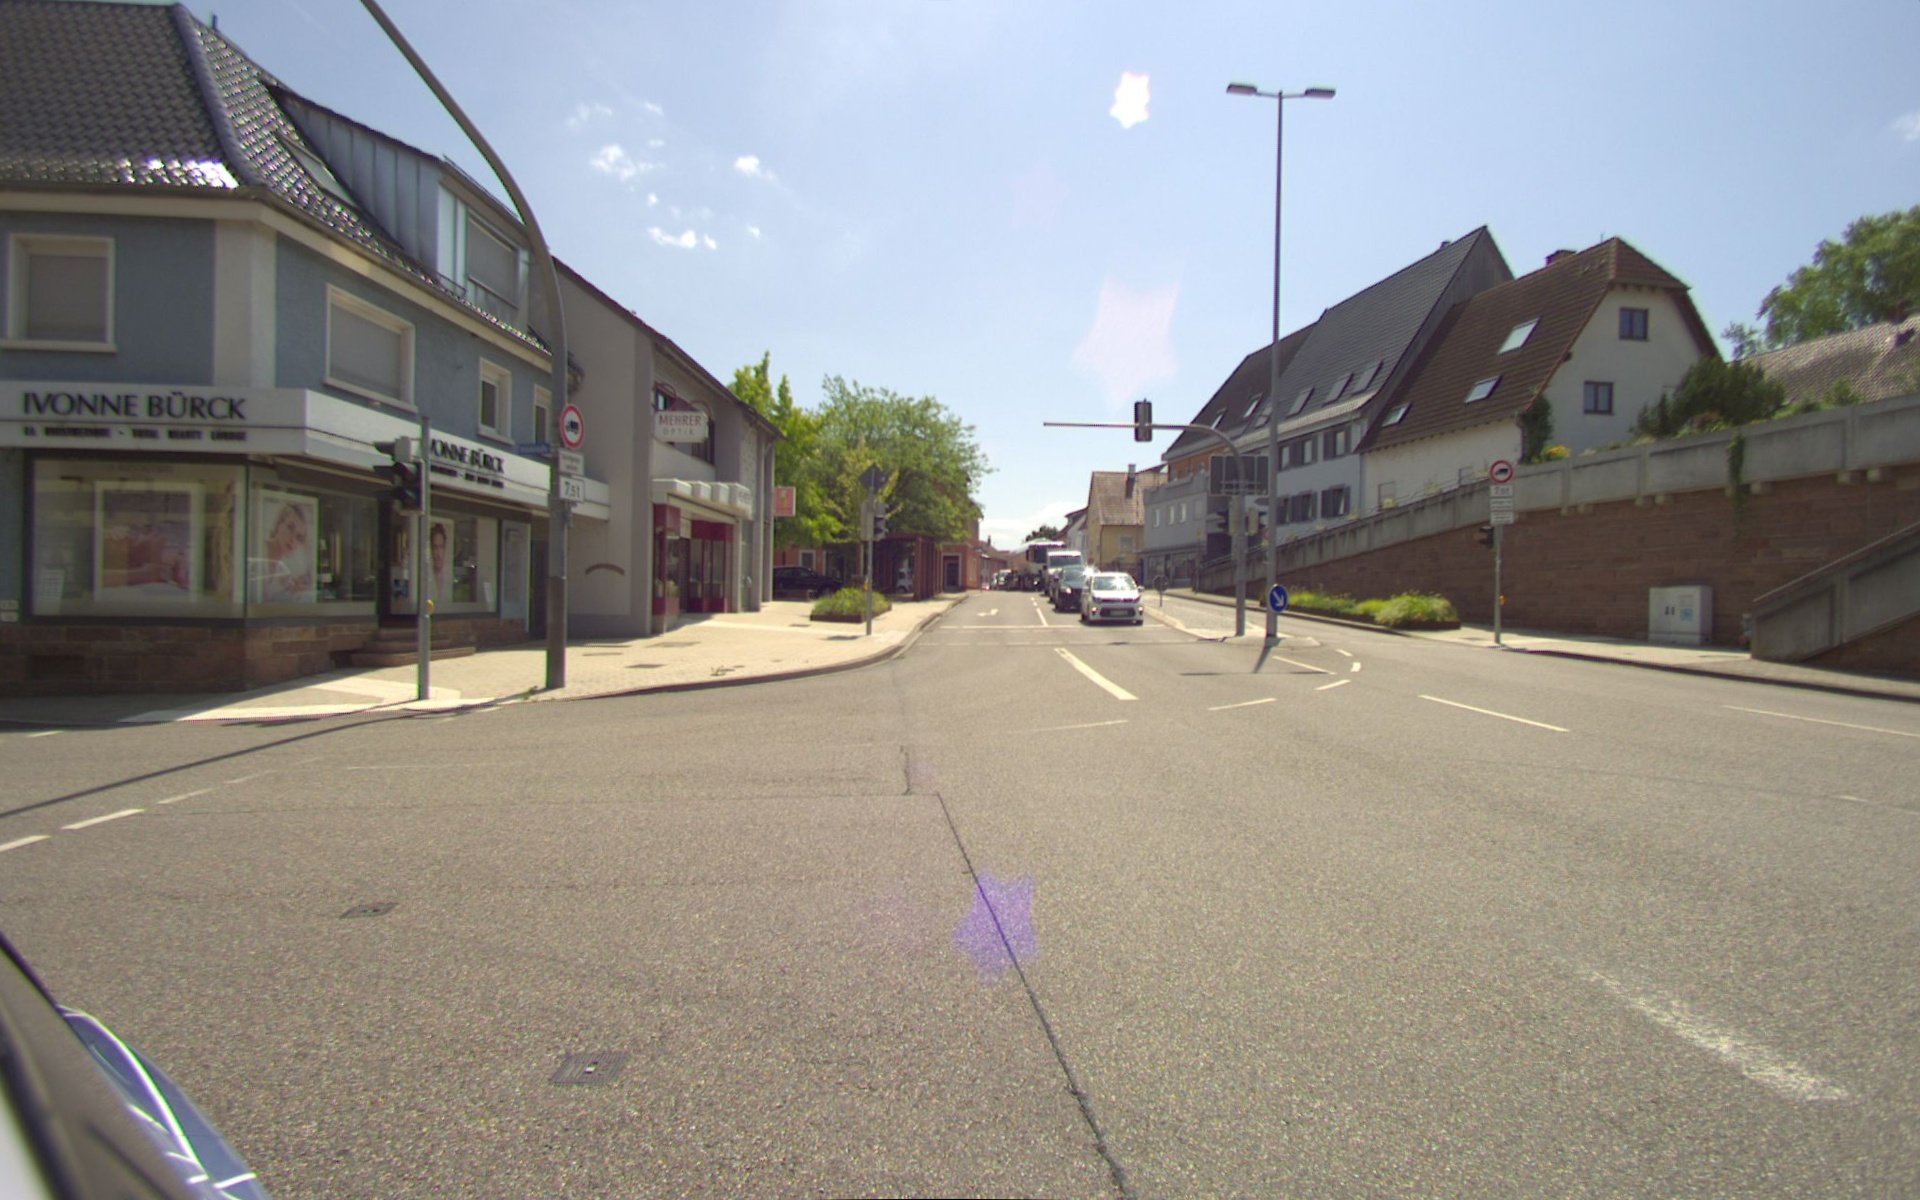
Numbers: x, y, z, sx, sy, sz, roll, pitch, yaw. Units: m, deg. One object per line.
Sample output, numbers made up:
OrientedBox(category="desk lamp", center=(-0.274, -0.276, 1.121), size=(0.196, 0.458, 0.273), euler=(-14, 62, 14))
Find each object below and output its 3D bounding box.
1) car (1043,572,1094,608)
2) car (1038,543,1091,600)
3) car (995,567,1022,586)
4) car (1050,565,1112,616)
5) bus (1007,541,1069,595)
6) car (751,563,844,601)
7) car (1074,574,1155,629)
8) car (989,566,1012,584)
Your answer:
OrientedBox(category="car", center=(4.729, -0.481, 44.448), size=(1.839, 1.490, 3.999), euler=(-1, 2, 1))
OrientedBox(category="car", center=(5.521, -1.544, 54.190), size=(2.274, 2.842, 6.503), euler=(-1, 2, 2))
OrientedBox(category="car", center=(4.257, -2.106, 89.424), size=(1.971, 1.648, 4.002), euler=(-1, 2, -2))
OrientedBox(category="car", center=(4.349, -0.388, 36.818), size=(1.839, 1.727, 3.998), euler=(-1, 2, 2))
OrientedBox(category="bus", center=(5.021, -2.127, 67.389), size=(2.510, 3.192, 12.660), euler=(-1, 2, -3))
OrientedBox(category="car", center=(-7.624, -0.832, 47.670), size=(3.949, 1.691, 1.997), euler=(-1, 0, 5))
OrientedBox(category="car", center=(4.541, -0.009, 30.339), size=(1.839, 1.490, 3.999), euler=(-1, 2, 1))
OrientedBox(category="car", center=(3.883, -2.432, 96.990), size=(1.971, 1.648, 4.001), euler=(-1, 1, -1))
